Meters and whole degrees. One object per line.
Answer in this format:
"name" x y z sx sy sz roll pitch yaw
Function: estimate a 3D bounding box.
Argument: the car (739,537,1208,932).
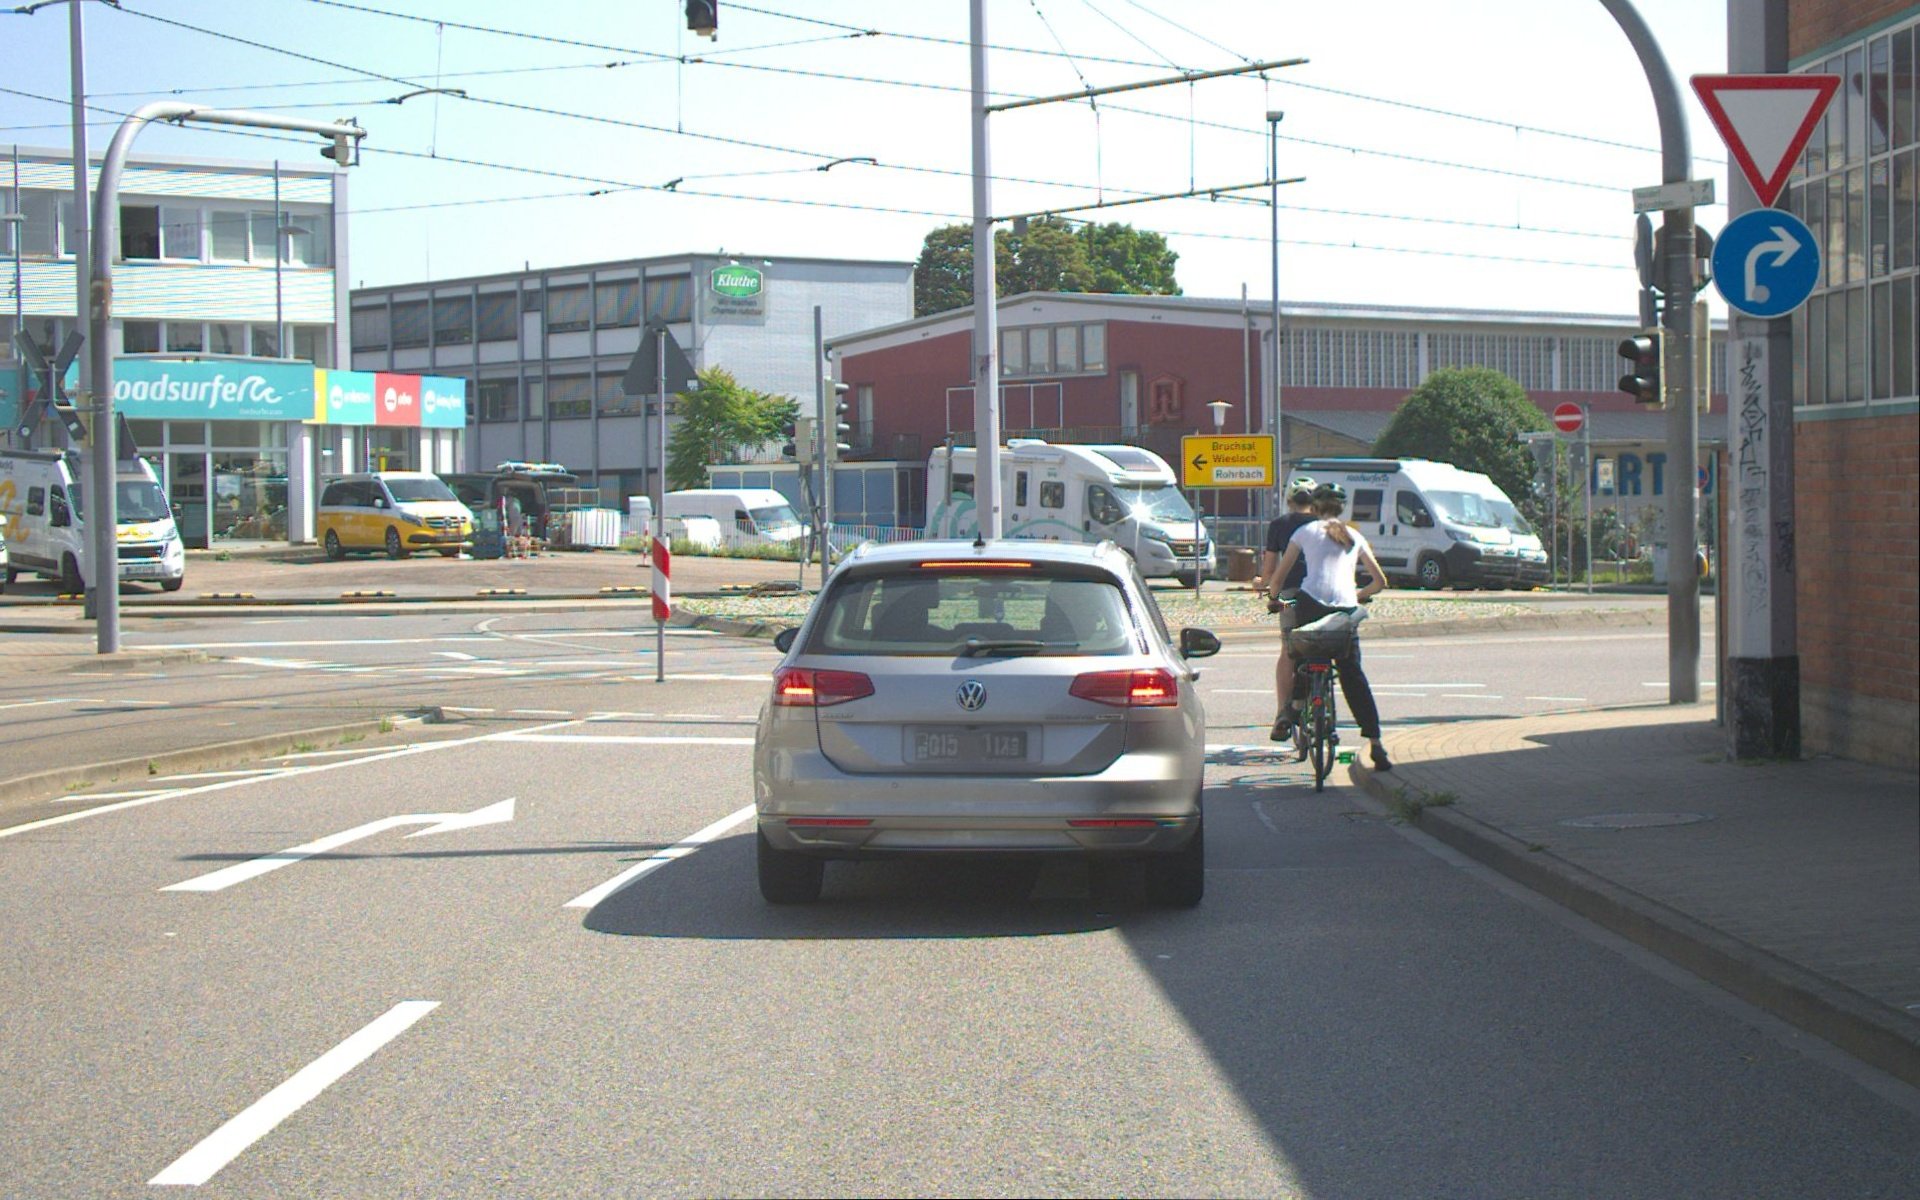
"car" 0.105 0.471 14.884 1.746 1.454 4.000 0 1 2

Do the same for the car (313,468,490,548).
"car" -12.704 -2.079 77.959 1.938 1.753 5.122 -1 2 -35

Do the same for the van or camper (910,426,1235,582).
"van or camper" 2.199 -2.027 69.922 2.348 2.920 6.983 -3 5 -43

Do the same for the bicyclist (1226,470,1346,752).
"bicyclist" 2.122 0.057 22.470 0.708 1.804 0.983 0 1 1

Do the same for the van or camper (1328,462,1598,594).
"van or camper" 10.898 -1.626 74.907 2.283 2.602 5.892 -3 4 -37

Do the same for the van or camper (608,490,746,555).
"van or camper" -8.604 -2.353 104.440 3.997 1.941 1.995 1 2 43

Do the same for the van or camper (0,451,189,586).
"van or camper" -16.346 -1.578 64.233 2.031 2.288 5.813 -2 4 -31

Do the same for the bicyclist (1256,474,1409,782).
"bicyclist" 2.125 0.141 19.738 0.786 1.716 1.147 0 1 2

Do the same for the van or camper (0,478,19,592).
"van or camper" -18.933 -1.256 62.867 1.993 2.006 5.011 -2 4 -31

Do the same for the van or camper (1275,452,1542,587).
"van or camper" 9.204 -1.716 70.947 2.283 2.431 5.386 -3 6 -37

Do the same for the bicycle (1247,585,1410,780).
"bicycle" 2.094 0.442 19.779 0.794 1.018 2.150 0 1 2
